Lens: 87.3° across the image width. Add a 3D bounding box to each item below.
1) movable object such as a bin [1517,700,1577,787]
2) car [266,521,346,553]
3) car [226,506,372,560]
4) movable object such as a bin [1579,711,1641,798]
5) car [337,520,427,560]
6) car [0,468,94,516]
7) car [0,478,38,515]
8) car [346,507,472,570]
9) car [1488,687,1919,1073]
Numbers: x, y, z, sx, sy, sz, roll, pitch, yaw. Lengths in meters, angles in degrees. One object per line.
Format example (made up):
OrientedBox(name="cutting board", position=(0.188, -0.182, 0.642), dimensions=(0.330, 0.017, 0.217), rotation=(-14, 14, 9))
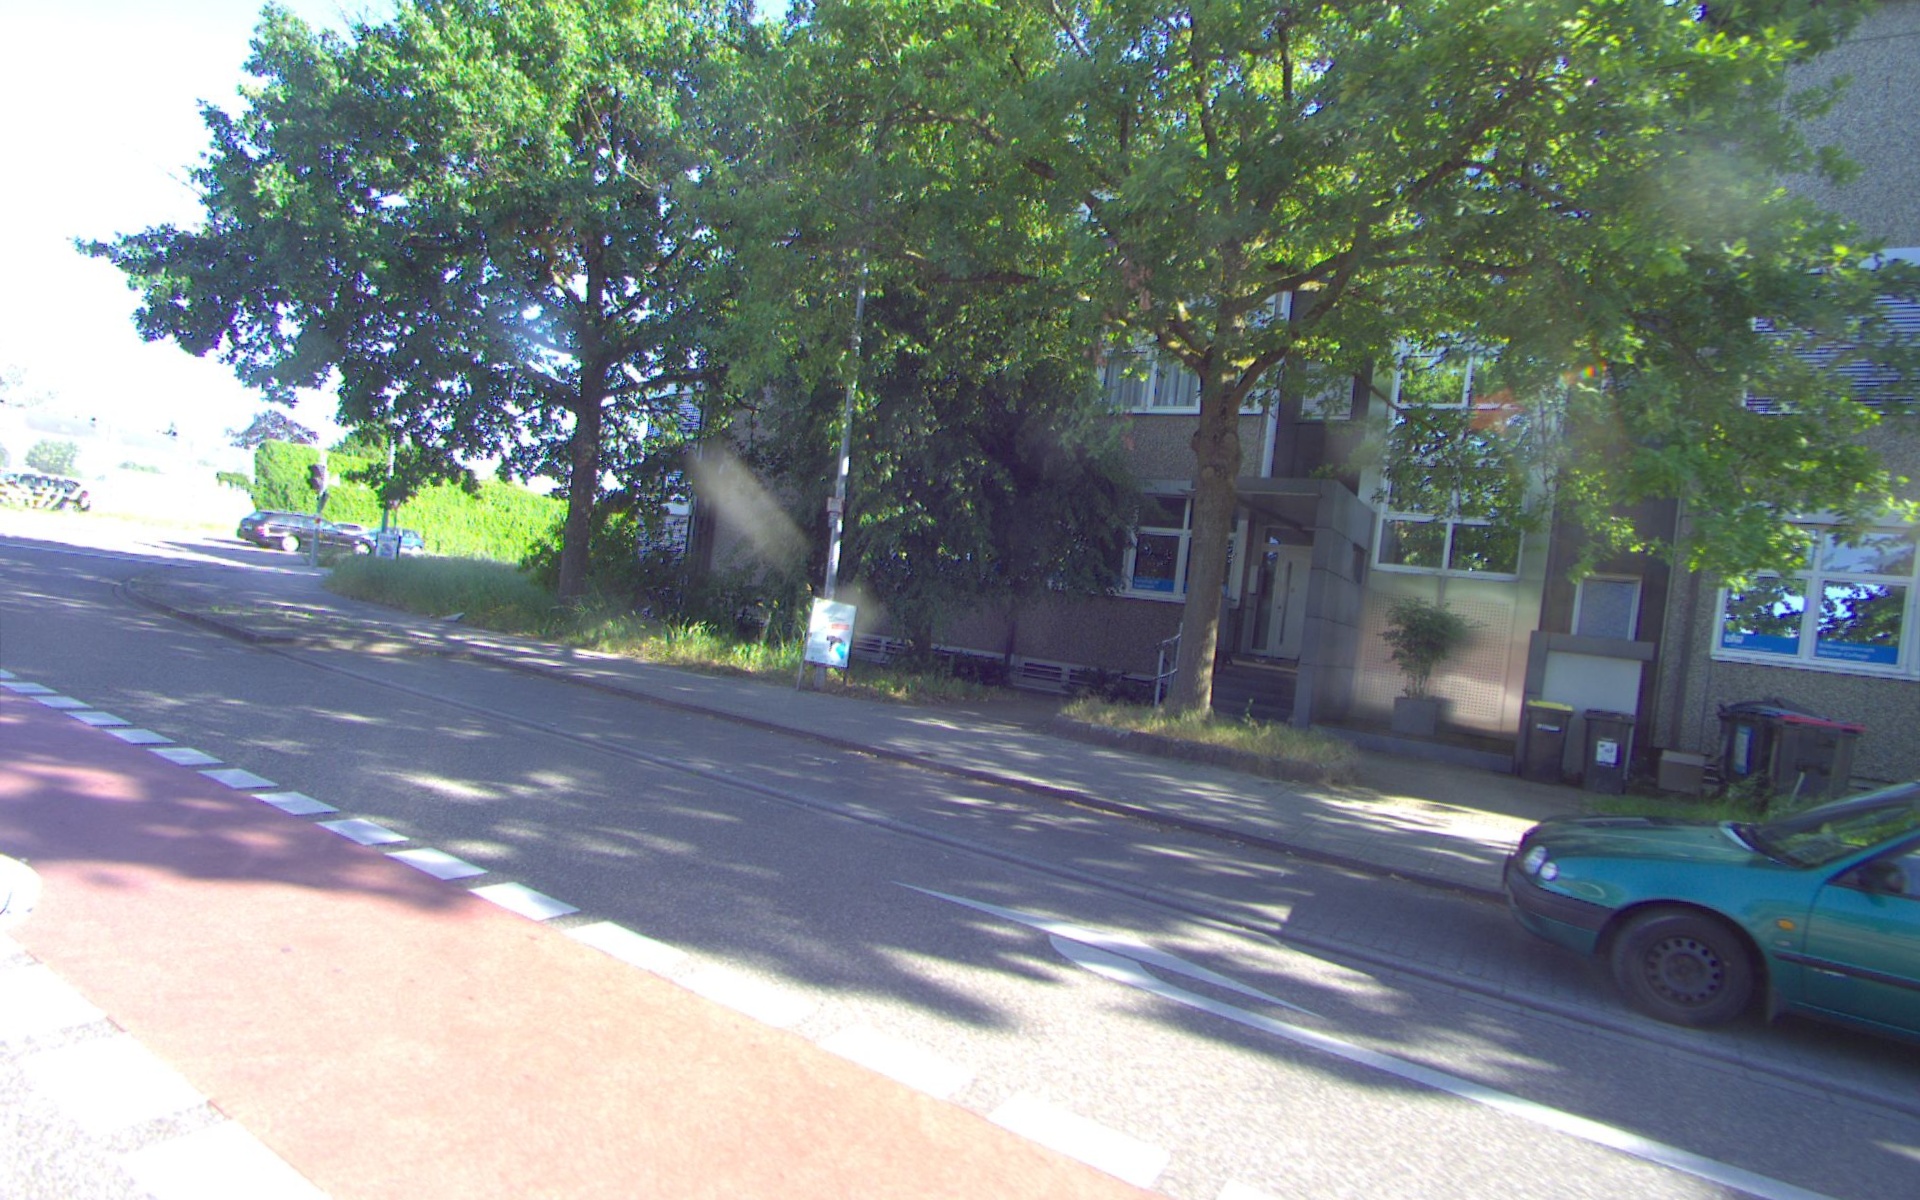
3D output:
OrientedBox(name="movable object such as a bin", position=(7.870, 1.900, 13.485), dimensions=(0.571, 1.045, 0.713), rotation=(7, 0, 31))
OrientedBox(name="car", position=(-37.663, -3.618, 57.994), dimensions=(1.330, 1.280, 3.589), rotation=(7, -1, 30))
OrientedBox(name="car", position=(-25.769, -2.570, 39.391), dimensions=(1.653, 1.459, 4.470), rotation=(8, 0, 28))
OrientedBox(name="movable object such as a bin", position=(8.482, 2.001, 13.144), dimensions=(0.566, 1.019, 0.629), rotation=(6, -1, 31))
OrientedBox(name="car", position=(-32.022, -3.295, 55.828), dimensions=(1.666, 1.570, 4.000), rotation=(6, -2, 25))
OrientedBox(name="car", position=(-36.056, -4.257, 38.395), dimensions=(1.548, 1.317, 4.170), rotation=(6, -2, 28))
OrientedBox(name="car", position=(-39.364, -4.350, 39.519), dimensions=(1.547, 1.318, 4.298), rotation=(7, -1, 28))
OrientedBox(name="car", position=(-16.148, -1.765, 29.691), dimensions=(1.433, 1.311, 3.412), rotation=(7, -2, 7))
OrientedBox(name="car", position=(5.041, 1.450, 4.906), dimensions=(4.135, 1.447, 1.593), rotation=(6, 1, 33))
